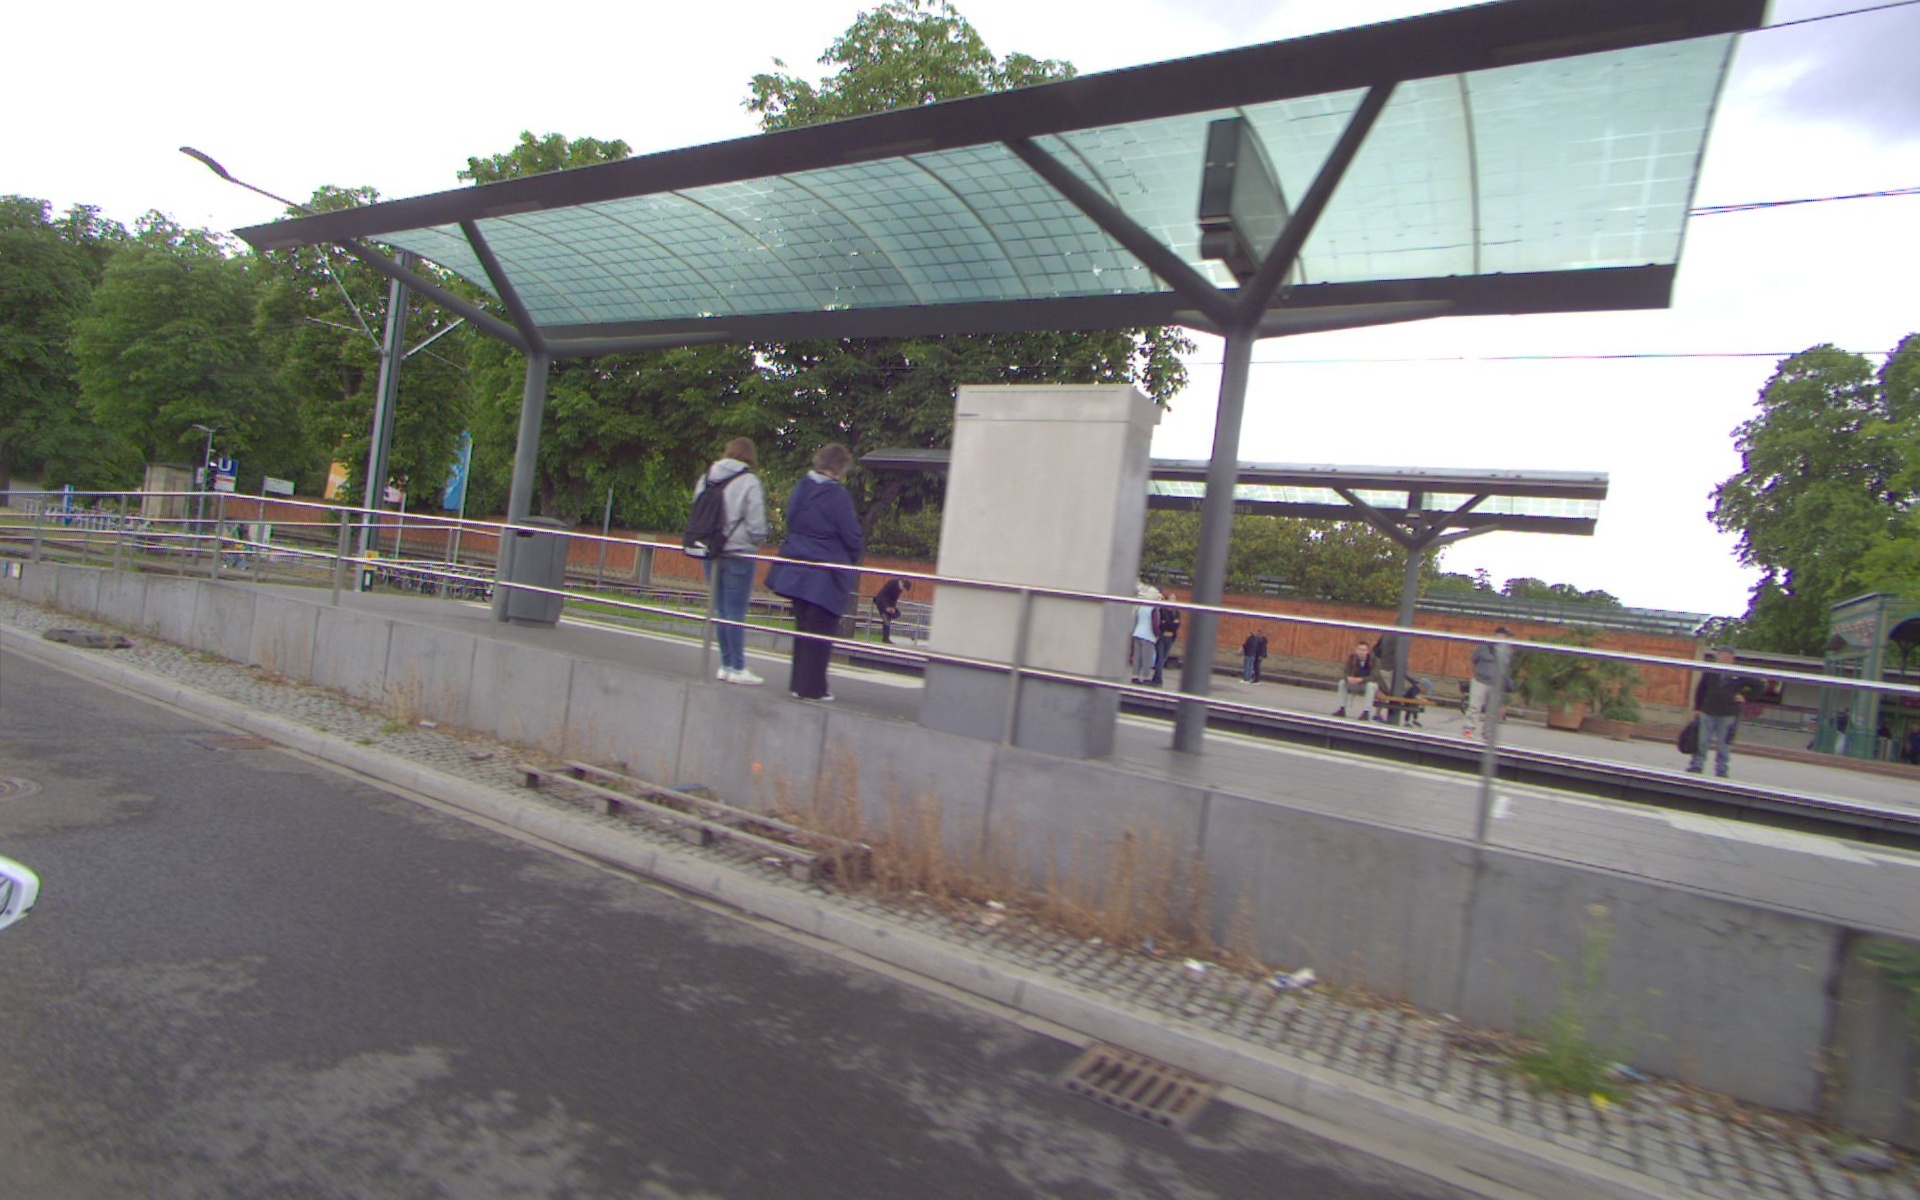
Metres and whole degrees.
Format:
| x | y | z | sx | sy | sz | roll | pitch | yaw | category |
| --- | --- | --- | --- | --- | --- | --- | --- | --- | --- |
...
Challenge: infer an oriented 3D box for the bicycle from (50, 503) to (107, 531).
| x | y | z | sx | sy | sz | roll | pitch | yaw | category |
| --- | --- | --- | --- | --- | --- | --- | --- | --- | --- |
| -41.452 | -3.904 | 47.329 | 0.522 | 0.987 | 1.915 | 7 | 0 | 31 | bicycle |

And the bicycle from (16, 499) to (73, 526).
| x | y | z | sx | sy | sz | roll | pitch | yaw | category |
| --- | --- | --- | --- | --- | --- | --- | --- | --- | --- |
| -44.462 | -4.238 | 48.870 | 0.522 | 0.987 | 1.915 | 7 | 0 | 31 | bicycle |

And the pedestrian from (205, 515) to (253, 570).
| x | y | z | sx | sy | sz | roll | pitch | yaw | category |
| --- | --- | --- | --- | --- | --- | --- | --- | --- | --- |
| -23.616 | -1.839 | 32.508 | 0.763 | 1.629 | 0.835 | 7 | 0 | 9 | pedestrian |

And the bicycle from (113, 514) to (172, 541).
| x | y | z | sx | sy | sz | roll | pitch | yaw | category |
| --- | --- | --- | --- | --- | --- | --- | --- | --- | --- |
| -35.940 | -3.176 | 44.252 | 0.522 | 0.906 | 1.915 | 7 | 0 | 31 | bicycle |

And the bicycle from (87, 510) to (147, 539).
| x | y | z | sx | sy | sz | roll | pitch | yaw | category |
| --- | --- | --- | --- | --- | --- | --- | --- | --- | --- |
| -37.572 | -3.342 | 44.880 | 0.522 | 0.987 | 1.915 | 7 | 0 | 31 | bicycle |

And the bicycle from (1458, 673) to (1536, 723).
| x | y | z | sx | sy | sz | roll | pitch | yaw | category |
| --- | --- | --- | --- | --- | --- | --- | --- | --- | --- |
| 14.496 | 2.641 | 27.181 | 1.684 | 1.073 | 0.565 | 8 | -2 | 0 | bicycle |

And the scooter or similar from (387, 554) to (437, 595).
| x | y | z | sx | sy | sz | roll | pitch | yaw | category |
| --- | --- | --- | --- | --- | --- | --- | --- | --- | --- |
| -18.066 | -0.838 | 33.181 | 0.328 | 1.151 | 1.276 | 6 | -3 | 38 | scooter or similar |

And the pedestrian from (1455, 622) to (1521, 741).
| x | y | z | sx | sy | sz | roll | pitch | yaw | category |
| --- | --- | --- | --- | --- | --- | --- | --- | --- | --- |
| 7.775 | 1.197 | 14.809 | 0.664 | 1.638 | 0.525 | 7 | -3 | 32 | pedestrian |

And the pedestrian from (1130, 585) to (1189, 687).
| x | y | z | sx | sy | sz | roll | pitch | yaw | category |
| --- | --- | --- | --- | --- | --- | --- | --- | --- | --- |
| 3.562 | 0.640 | 17.962 | 0.665 | 1.695 | 0.676 | 7 | -2 | 28 | pedestrian |

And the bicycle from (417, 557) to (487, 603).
| x | y | z | sx | sy | sz | roll | pitch | yaw | category |
| --- | --- | --- | --- | --- | --- | --- | --- | --- | --- |
| -16.142 | -0.622 | 32.003 | 0.524 | 1.151 | 1.878 | 7 | -4 | 31 | bicycle |

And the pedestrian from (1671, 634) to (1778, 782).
| x | y | z | sx | sy | sz | roll | pitch | yaw | category |
| --- | --- | --- | --- | --- | --- | --- | --- | --- | --- |
| 10.431 | 1.471 | 13.759 | 0.934 | 1.858 | 0.634 | 7 | -3 | 32 | pedestrian |

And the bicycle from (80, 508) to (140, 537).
| x | y | z | sx | sy | sz | roll | pitch | yaw | category |
| --- | --- | --- | --- | --- | --- | --- | --- | --- | --- |
| -38.335 | -3.478 | 45.386 | 0.522 | 0.987 | 1.915 | 7 | 0 | 31 | bicycle |

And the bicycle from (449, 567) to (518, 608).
| x | y | z | sx | sy | sz | roll | pitch | yaw | category |
| --- | --- | --- | --- | --- | --- | --- | --- | --- | --- |
| -14.801 | -0.375 | 31.287 | 0.524 | 0.973 | 1.878 | 7 | -4 | 31 | bicycle |

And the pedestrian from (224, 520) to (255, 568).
| x | y | z | sx | sy | sz | roll | pitch | yaw | category |
| --- | --- | --- | --- | --- | --- | --- | --- | --- | --- |
| -23.999 | -1.862 | 33.505 | 0.506 | 1.520 | 0.498 | 7 | 1 | 9 | pedestrian |

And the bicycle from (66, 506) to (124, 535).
| x | y | z | sx | sy | sz | roll | pitch | yaw | category |
| --- | --- | --- | --- | --- | --- | --- | --- | --- | --- |
| -39.633 | -3.636 | 46.116 | 0.522 | 0.987 | 1.915 | 7 | 0 | 31 | bicycle |

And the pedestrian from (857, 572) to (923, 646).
| x | y | z | sx | sy | sz | roll | pitch | yaw | category |
| --- | --- | --- | --- | --- | --- | --- | --- | --- | --- |
| -1.423 | 0.187 | 20.390 | 0.951 | 1.338 | 0.675 | 7 | -3 | 30 | pedestrian |

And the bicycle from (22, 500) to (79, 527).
| x | y | z | sx | sy | sz | roll | pitch | yaw | category |
| --- | --- | --- | --- | --- | --- | --- | --- | --- | --- |
| -43.710 | -4.156 | 48.362 | 0.522 | 0.987 | 1.915 | 7 | 0 | 31 | bicycle |

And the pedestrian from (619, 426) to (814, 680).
| x | y | z | sx | sy | sz | roll | pitch | yaw | category |
| --- | --- | --- | --- | --- | --- | --- | --- | --- | --- |
| -1.667 | -0.313 | 6.938 | 0.762 | 1.570 | 0.752 | 9 | -1 | 32 | pedestrian |

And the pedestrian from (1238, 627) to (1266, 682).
| x | y | z | sx | sy | sz | roll | pitch | yaw | category |
| --- | --- | --- | --- | --- | --- | --- | --- | --- | --- |
| 8.980 | 1.673 | 30.899 | 0.611 | 1.600 | 0.587 | 7 | -2 | 18 | pedestrian |

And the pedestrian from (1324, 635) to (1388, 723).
| x | y | z | sx | sy | sz | roll | pitch | yaw | category |
| --- | --- | --- | --- | --- | --- | --- | --- | --- | --- |
| 6.011 | 1.199 | 15.257 | 0.664 | 1.204 | 0.659 | 7 | -3 | 32 | pedestrian |

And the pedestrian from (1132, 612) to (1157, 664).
| x | y | z | sx | sy | sz | roll | pitch | yaw | category |
| --- | --- | --- | --- | --- | --- | --- | --- | --- | --- |
| 5.823 | 1.211 | 31.742 | 0.452 | 1.552 | 0.486 | 7 | -3 | 34 | pedestrian |

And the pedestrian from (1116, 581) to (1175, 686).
| x | y | z | sx | sy | sz | roll | pitch | yaw | category |
| --- | --- | --- | --- | --- | --- | --- | --- | --- | --- |
| 3.185 | 0.582 | 17.284 | 0.664 | 1.695 | 0.545 | 7 | -2 | 28 | pedestrian |

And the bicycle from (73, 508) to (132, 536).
| x | y | z | sx | sy | sz | roll | pitch | yaw | category |
| --- | --- | --- | --- | --- | --- | --- | --- | --- | --- |
| -38.973 | -3.549 | 45.732 | 0.522 | 0.987 | 1.915 | 7 | 0 | 31 | bicycle |

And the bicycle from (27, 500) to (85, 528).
| x | y | z | sx | sy | sz | roll | pitch | yaw | category |
| --- | --- | --- | --- | --- | --- | --- | --- | --- | --- |
| -42.927 | -4.073 | 47.798 | 0.522 | 0.987 | 1.915 | 7 | 0 | 31 | bicycle |

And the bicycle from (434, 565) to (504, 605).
| x | y | z | sx | sy | sz | roll | pitch | yaw | category |
| --- | --- | --- | --- | --- | --- | --- | --- | --- | --- |
| -15.418 | -0.456 | 31.637 | 0.524 | 0.973 | 1.878 | 7 | -4 | 31 | bicycle |

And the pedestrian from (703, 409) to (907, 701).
| x | y | z | sx | sy | sz | roll | pitch | yaw | category |
| --- | --- | --- | --- | --- | --- | --- | --- | --- | --- |
| -0.994 | -0.274 | 6.546 | 0.719 | 1.718 | 0.772 | 9 | -1 | 32 | pedestrian |

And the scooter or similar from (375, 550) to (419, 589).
| x | y | z | sx | sy | sz | roll | pitch | yaw | category |
| --- | --- | --- | --- | --- | --- | --- | --- | --- | --- |
| -19.388 | -1.044 | 34.650 | 1.157 | 1.151 | 0.330 | 10 | -3 | -36 | scooter or similar |

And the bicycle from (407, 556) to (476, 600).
| x | y | z | sx | sy | sz | roll | pitch | yaw | category |
| --- | --- | --- | --- | --- | --- | --- | --- | --- | --- |
| -16.828 | -0.701 | 32.681 | 0.524 | 1.151 | 1.878 | 7 | -4 | 31 | bicycle |

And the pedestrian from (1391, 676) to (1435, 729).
| x | y | z | sx | sy | sz | roll | pitch | yaw | category |
| --- | --- | --- | --- | --- | --- | --- | --- | --- | --- |
| 7.143 | 1.617 | 15.854 | 0.418 | 0.748 | 0.562 | 6 | -3 | 40 | pedestrian |

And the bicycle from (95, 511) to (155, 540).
| x | y | z | sx | sy | sz | roll | pitch | yaw | category |
| --- | --- | --- | --- | --- | --- | --- | --- | --- | --- |
| -37.005 | -3.274 | 44.595 | 0.522 | 0.987 | 1.915 | 7 | 0 | 31 | bicycle |

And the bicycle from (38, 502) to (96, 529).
| x | y | z | sx | sy | sz | roll | pitch | yaw | category |
| --- | --- | --- | --- | --- | --- | --- | --- | --- | --- |
| -42.231 | -3.995 | 47.576 | 0.522 | 0.987 | 1.915 | 7 | 0 | 31 | bicycle |

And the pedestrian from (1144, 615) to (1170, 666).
| x | y | z | sx | sy | sz | roll | pitch | yaw | category |
| --- | --- | --- | --- | --- | --- | --- | --- | --- | --- |
| 6.120 | 1.251 | 31.275 | 0.452 | 1.503 | 0.486 | 7 | -3 | 34 | pedestrian |

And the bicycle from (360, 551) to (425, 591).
| x | y | z | sx | sy | sz | roll | pitch | yaw | category |
| --- | --- | --- | --- | --- | --- | --- | --- | --- | --- |
| -18.949 | -0.968 | 33.607 | 0.475 | 1.045 | 1.769 | 7 | -4 | 31 | bicycle |

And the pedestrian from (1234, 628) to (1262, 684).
| x | y | z | sx | sy | sz | roll | pitch | yaw | category |
| --- | --- | --- | --- | --- | --- | --- | --- | --- | --- |
| 8.675 | 1.697 | 30.291 | 0.610 | 1.600 | 0.657 | 7 | -2 | 17 | pedestrian |
